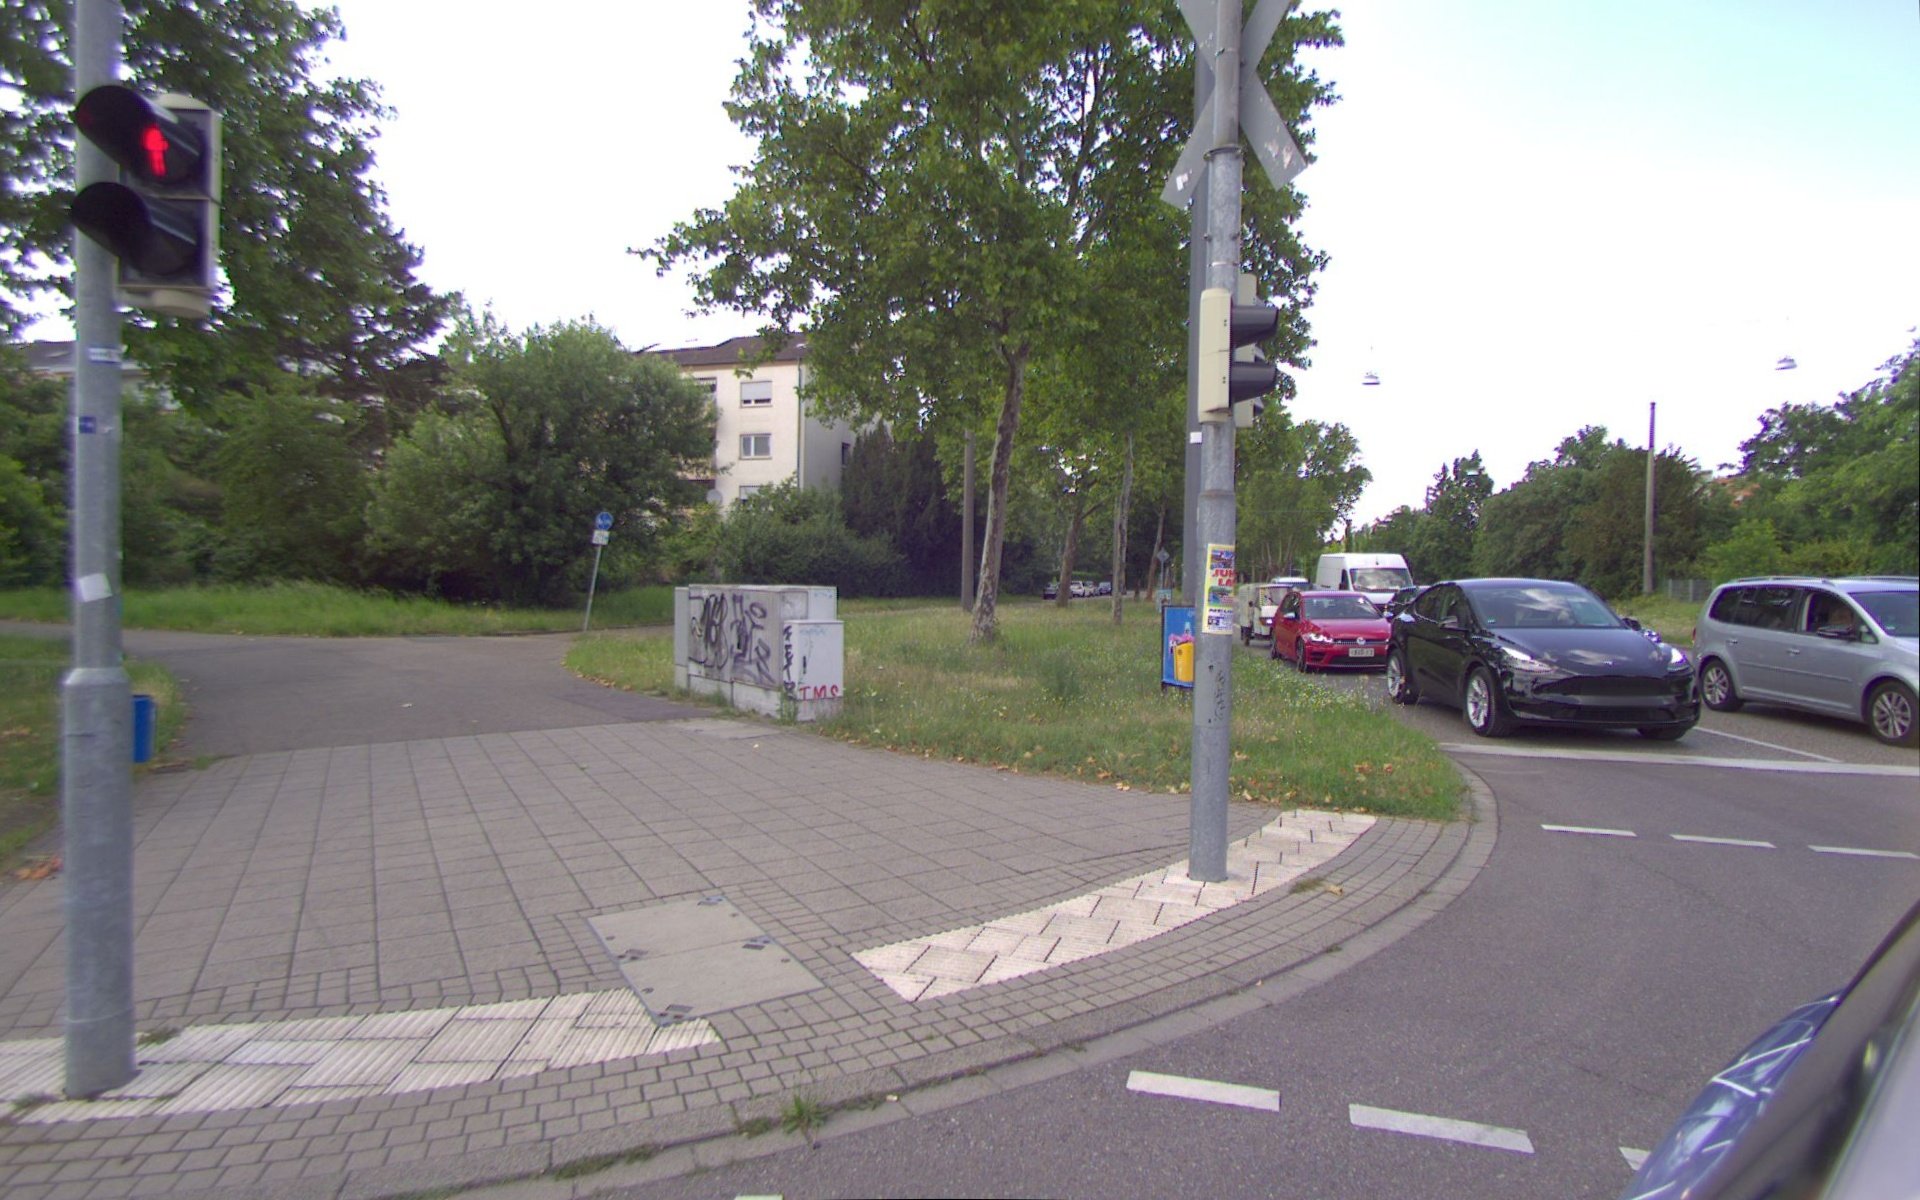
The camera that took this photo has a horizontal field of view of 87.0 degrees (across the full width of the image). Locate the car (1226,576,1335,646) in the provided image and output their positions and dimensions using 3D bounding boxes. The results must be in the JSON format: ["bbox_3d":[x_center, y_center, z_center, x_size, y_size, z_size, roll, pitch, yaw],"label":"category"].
[{"bbox_3d":[8.016,0.201,25.688,1.771,1.589,4.495,-1,1,6],"label":"car"}]

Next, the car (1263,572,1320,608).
[{"bbox_3d":[16.129,-0.528,49.444,1.734,1.667,4.337,1,1,6],"label":"car"}]

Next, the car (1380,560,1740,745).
[{"bbox_3d":[6.440,0.433,11.583,1.899,1.672,4.570,-1,1,8],"label":"car"}]

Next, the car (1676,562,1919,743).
[{"bbox_3d":[10.003,0.437,10.780,1.897,1.672,4.495,-1,1,6],"label":"car"}]

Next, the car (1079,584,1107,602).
[{"bbox_3d":[12.655,-0.617,95.895,1.756,1.616,3.628,1,-1,22],"label":"car"}]

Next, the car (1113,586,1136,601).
[{"bbox_3d":[18.554,-0.738,113.760,1.756,1.616,3.628,1,-1,22],"label":"car"}]

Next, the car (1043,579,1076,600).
[{"bbox_3d":[8.204,-0.828,83.306,1.756,1.616,3.628,1,-1,22],"label":"car"}]

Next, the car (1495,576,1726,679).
[{"bbox_3d":[10.896,0.377,17.317,1.774,1.527,3.992,-1,1,8],"label":"car"}]

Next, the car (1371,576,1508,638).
[{"bbox_3d":[11.805,0.109,25.227,1.734,1.392,4.337,-1,1,6],"label":"car"}]

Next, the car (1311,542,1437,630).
[{"bbox_3d":[13.197,-0.468,32.713,2.189,2.561,5.924,-1,1,6],"label":"car"}]

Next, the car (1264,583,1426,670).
[{"bbox_3d":[7.142,0.420,19.254,1.771,1.408,4.495,-1,1,6],"label":"car"}]

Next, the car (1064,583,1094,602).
[{"bbox_3d":[10.823,-0.690,92.089,1.756,1.616,3.628,1,-1,22],"label":"car"}]
